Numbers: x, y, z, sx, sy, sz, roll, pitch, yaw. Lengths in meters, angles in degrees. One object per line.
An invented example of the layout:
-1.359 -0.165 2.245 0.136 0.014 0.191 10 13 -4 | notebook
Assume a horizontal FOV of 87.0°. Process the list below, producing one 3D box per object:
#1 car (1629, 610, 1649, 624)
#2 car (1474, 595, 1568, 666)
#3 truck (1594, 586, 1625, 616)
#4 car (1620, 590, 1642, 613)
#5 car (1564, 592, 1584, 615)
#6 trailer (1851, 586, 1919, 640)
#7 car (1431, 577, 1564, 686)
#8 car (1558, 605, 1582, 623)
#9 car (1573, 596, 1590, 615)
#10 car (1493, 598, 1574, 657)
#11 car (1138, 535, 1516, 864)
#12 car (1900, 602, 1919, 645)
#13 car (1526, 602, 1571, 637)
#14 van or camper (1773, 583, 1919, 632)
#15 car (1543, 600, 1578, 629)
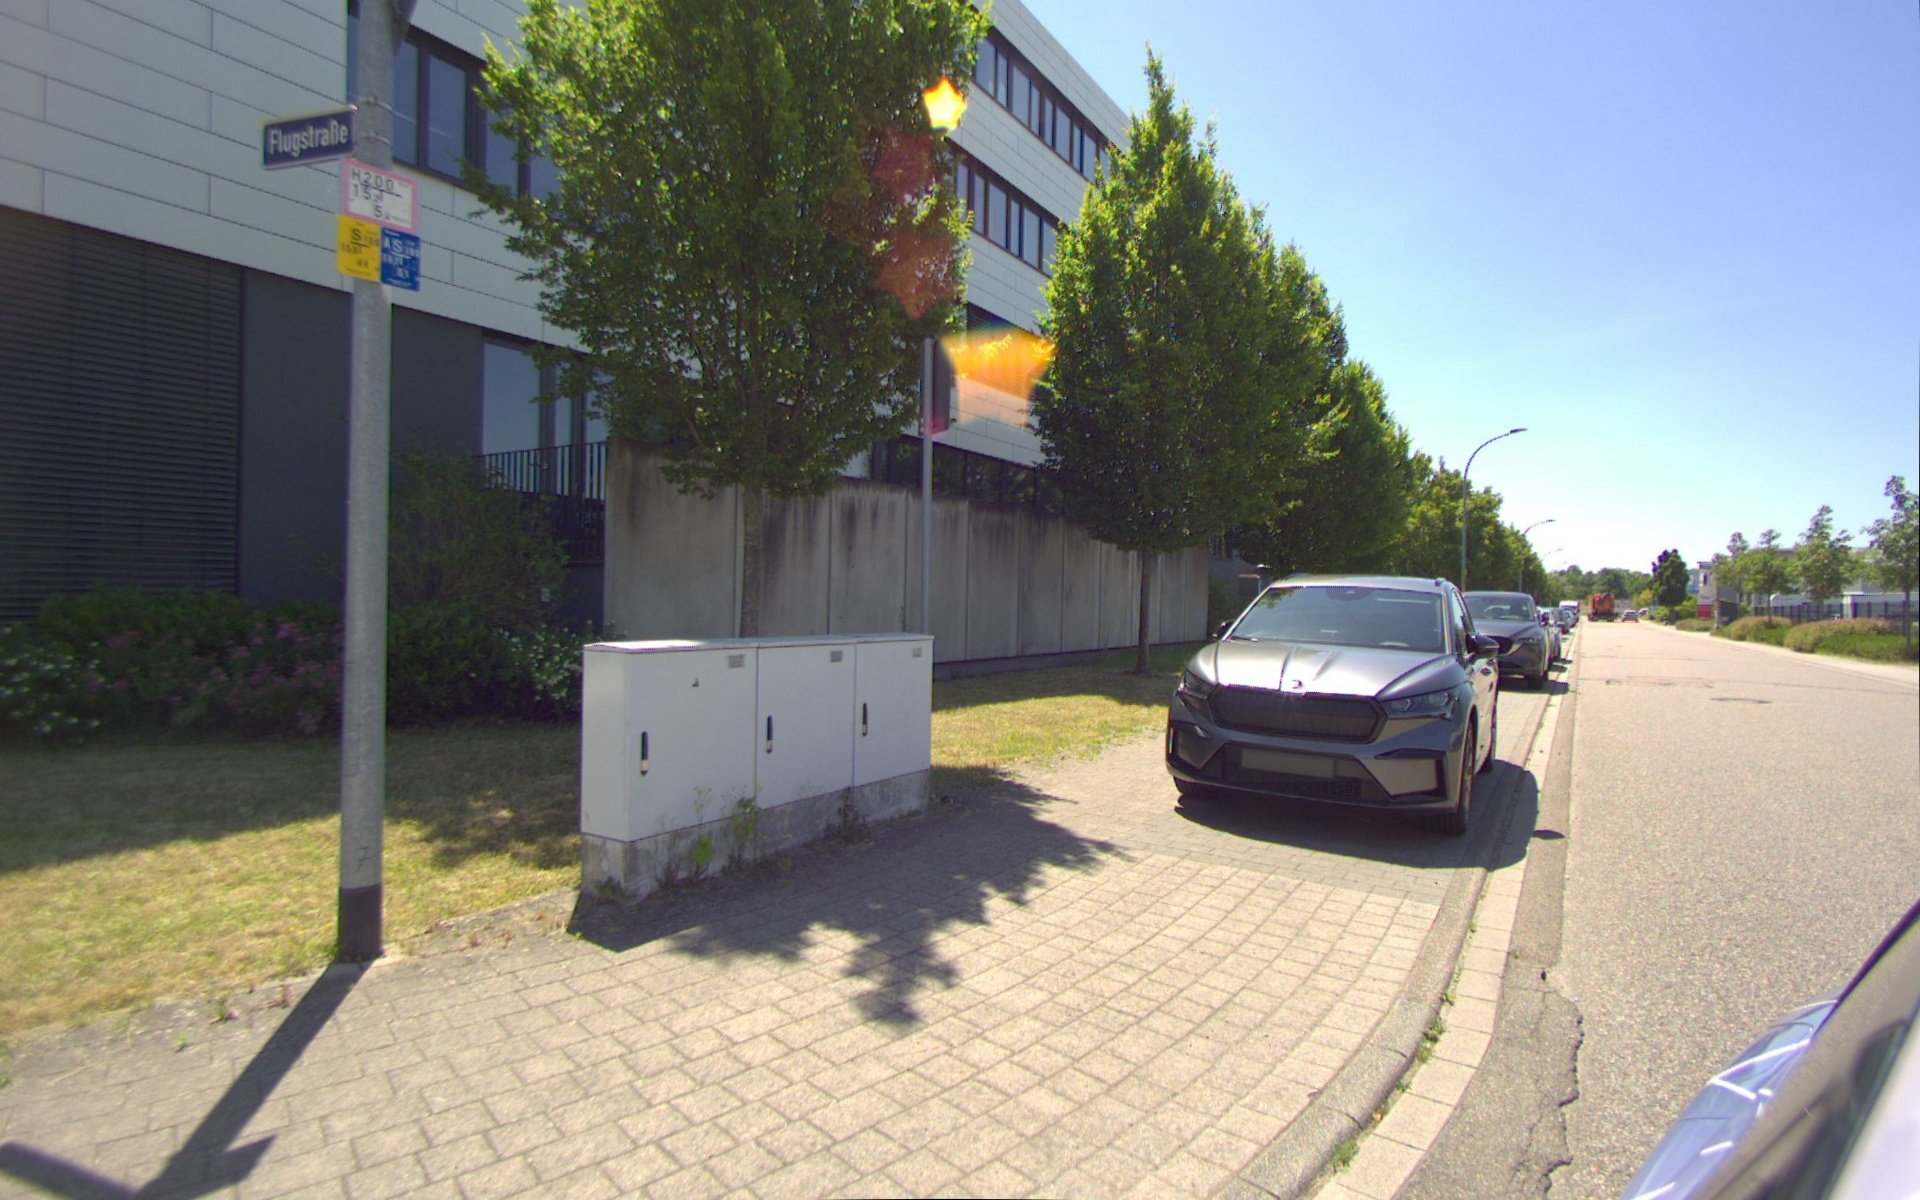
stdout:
86.289 2.091 128.610 1.986 1.705 3.953 2 0 33 | car
13.774 0.700 24.751 1.710 1.499 3.983 4 2 33 | car
82.601 0.164 128.811 2.586 3.589 10.389 2 1 30 | truck
97.374 0.190 146.901 2.583 3.272 6.148 1 0 33 | car
75.845 0.451 125.080 2.045 2.732 4.781 2 0 31 | car
43.099 0.590 45.699 3.966 2.390 1.708 -1 -1 30 | trailer
9.887 0.508 18.457 1.751 1.683 4.311 3 1 33 | car
54.148 1.251 89.890 1.724 1.528 3.625 3 1 31 | car
92.087 0.832 149.969 2.045 2.732 4.781 2 0 31 | car
16.235 0.723 28.554 1.710 1.441 3.904 4 2 33 | car
3.081 0.509 7.742 1.796 1.683 4.556 4 1 31 | car
38.877 0.931 38.158 4.715 1.649 1.976 1 0 34 | car
27.767 0.884 47.710 1.684 1.495 4.220 3 1 31 | car
51.964 0.401 59.038 6.751 2.718 2.544 1 0 34 | van or camper
37.376 0.892 62.961 1.730 1.691 4.318 2 1 31 | car
